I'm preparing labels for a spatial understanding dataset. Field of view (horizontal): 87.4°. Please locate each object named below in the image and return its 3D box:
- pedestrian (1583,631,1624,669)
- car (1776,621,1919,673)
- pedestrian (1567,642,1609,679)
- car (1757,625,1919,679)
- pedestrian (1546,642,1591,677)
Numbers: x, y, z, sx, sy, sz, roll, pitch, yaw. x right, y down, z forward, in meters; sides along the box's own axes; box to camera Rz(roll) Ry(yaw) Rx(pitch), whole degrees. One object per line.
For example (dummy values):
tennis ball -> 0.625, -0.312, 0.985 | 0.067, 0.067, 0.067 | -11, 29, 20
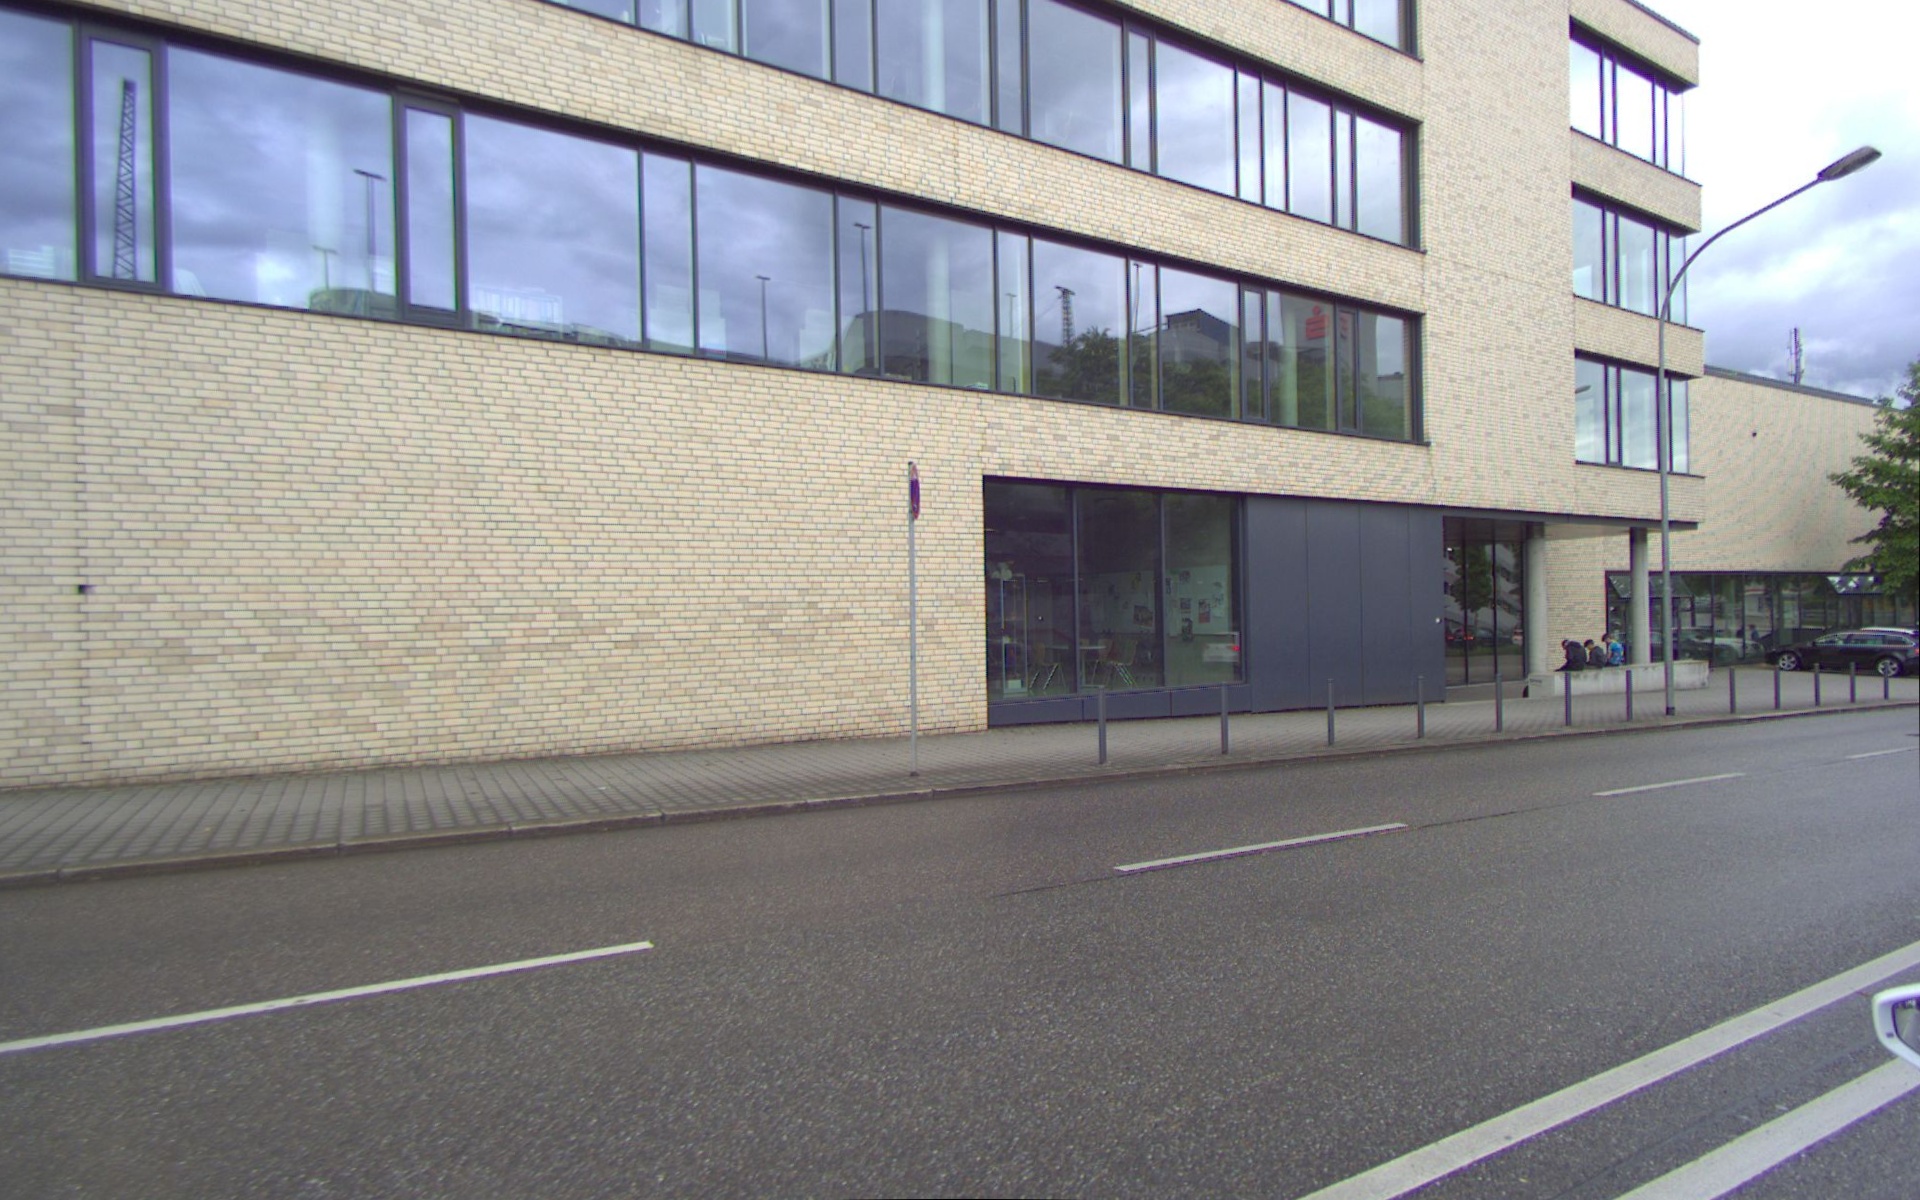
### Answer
pedestrian -> 16.035, 1.245, 25.025 | 0.518, 0.897, 0.678 | 2, 0, -29
car -> 32.144, 1.644, 35.813 | 1.980, 1.595, 4.387 | -1, 1, -35
pedestrian -> 15.164, 1.462, 24.257 | 0.718, 0.856, 0.584 | 2, -1, -29
car -> 30.230, 1.717, 34.233 | 1.980, 1.608, 4.439 | 1, 0, -35
pedestrian -> 14.404, 1.404, 23.766 | 0.751, 0.796, 0.595 | 2, 0, -29
